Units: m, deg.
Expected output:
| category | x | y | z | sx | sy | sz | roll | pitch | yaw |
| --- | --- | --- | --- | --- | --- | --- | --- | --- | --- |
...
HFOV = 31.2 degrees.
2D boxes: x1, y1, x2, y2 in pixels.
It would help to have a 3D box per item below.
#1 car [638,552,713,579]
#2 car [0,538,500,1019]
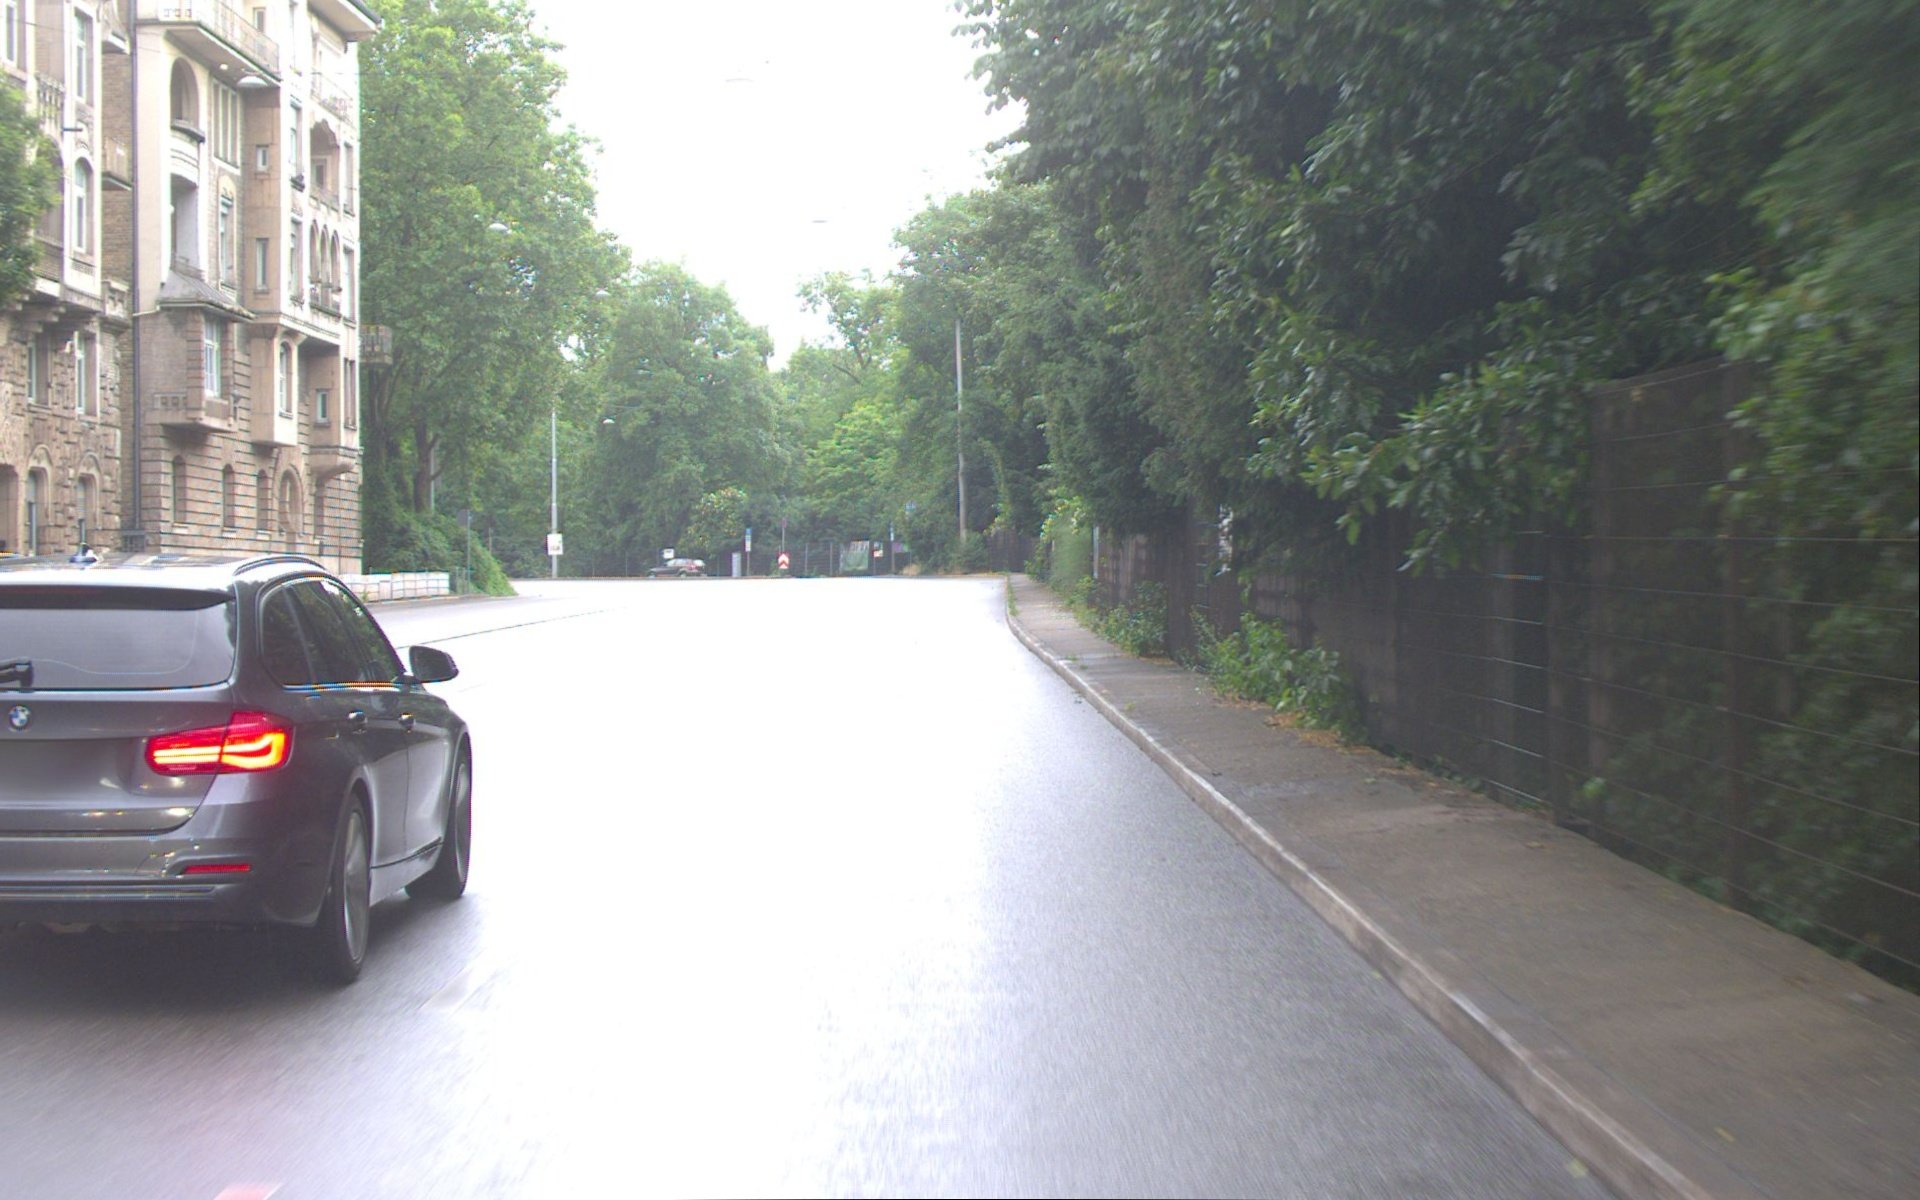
| category | x | y | z | sx | sy | sz | roll | pitch | yaw |
| --- | --- | --- | --- | --- | --- | --- | --- | --- | --- |
| car | -16.031 | -1.940 | 193.740 | 4.368 | 1.422 | 1.688 | 0 | -2 | 44 |
| car | -2.857 | 0.505 | 12.611 | 1.757 | 1.427 | 4.413 | 2 | 1 | -1 |
